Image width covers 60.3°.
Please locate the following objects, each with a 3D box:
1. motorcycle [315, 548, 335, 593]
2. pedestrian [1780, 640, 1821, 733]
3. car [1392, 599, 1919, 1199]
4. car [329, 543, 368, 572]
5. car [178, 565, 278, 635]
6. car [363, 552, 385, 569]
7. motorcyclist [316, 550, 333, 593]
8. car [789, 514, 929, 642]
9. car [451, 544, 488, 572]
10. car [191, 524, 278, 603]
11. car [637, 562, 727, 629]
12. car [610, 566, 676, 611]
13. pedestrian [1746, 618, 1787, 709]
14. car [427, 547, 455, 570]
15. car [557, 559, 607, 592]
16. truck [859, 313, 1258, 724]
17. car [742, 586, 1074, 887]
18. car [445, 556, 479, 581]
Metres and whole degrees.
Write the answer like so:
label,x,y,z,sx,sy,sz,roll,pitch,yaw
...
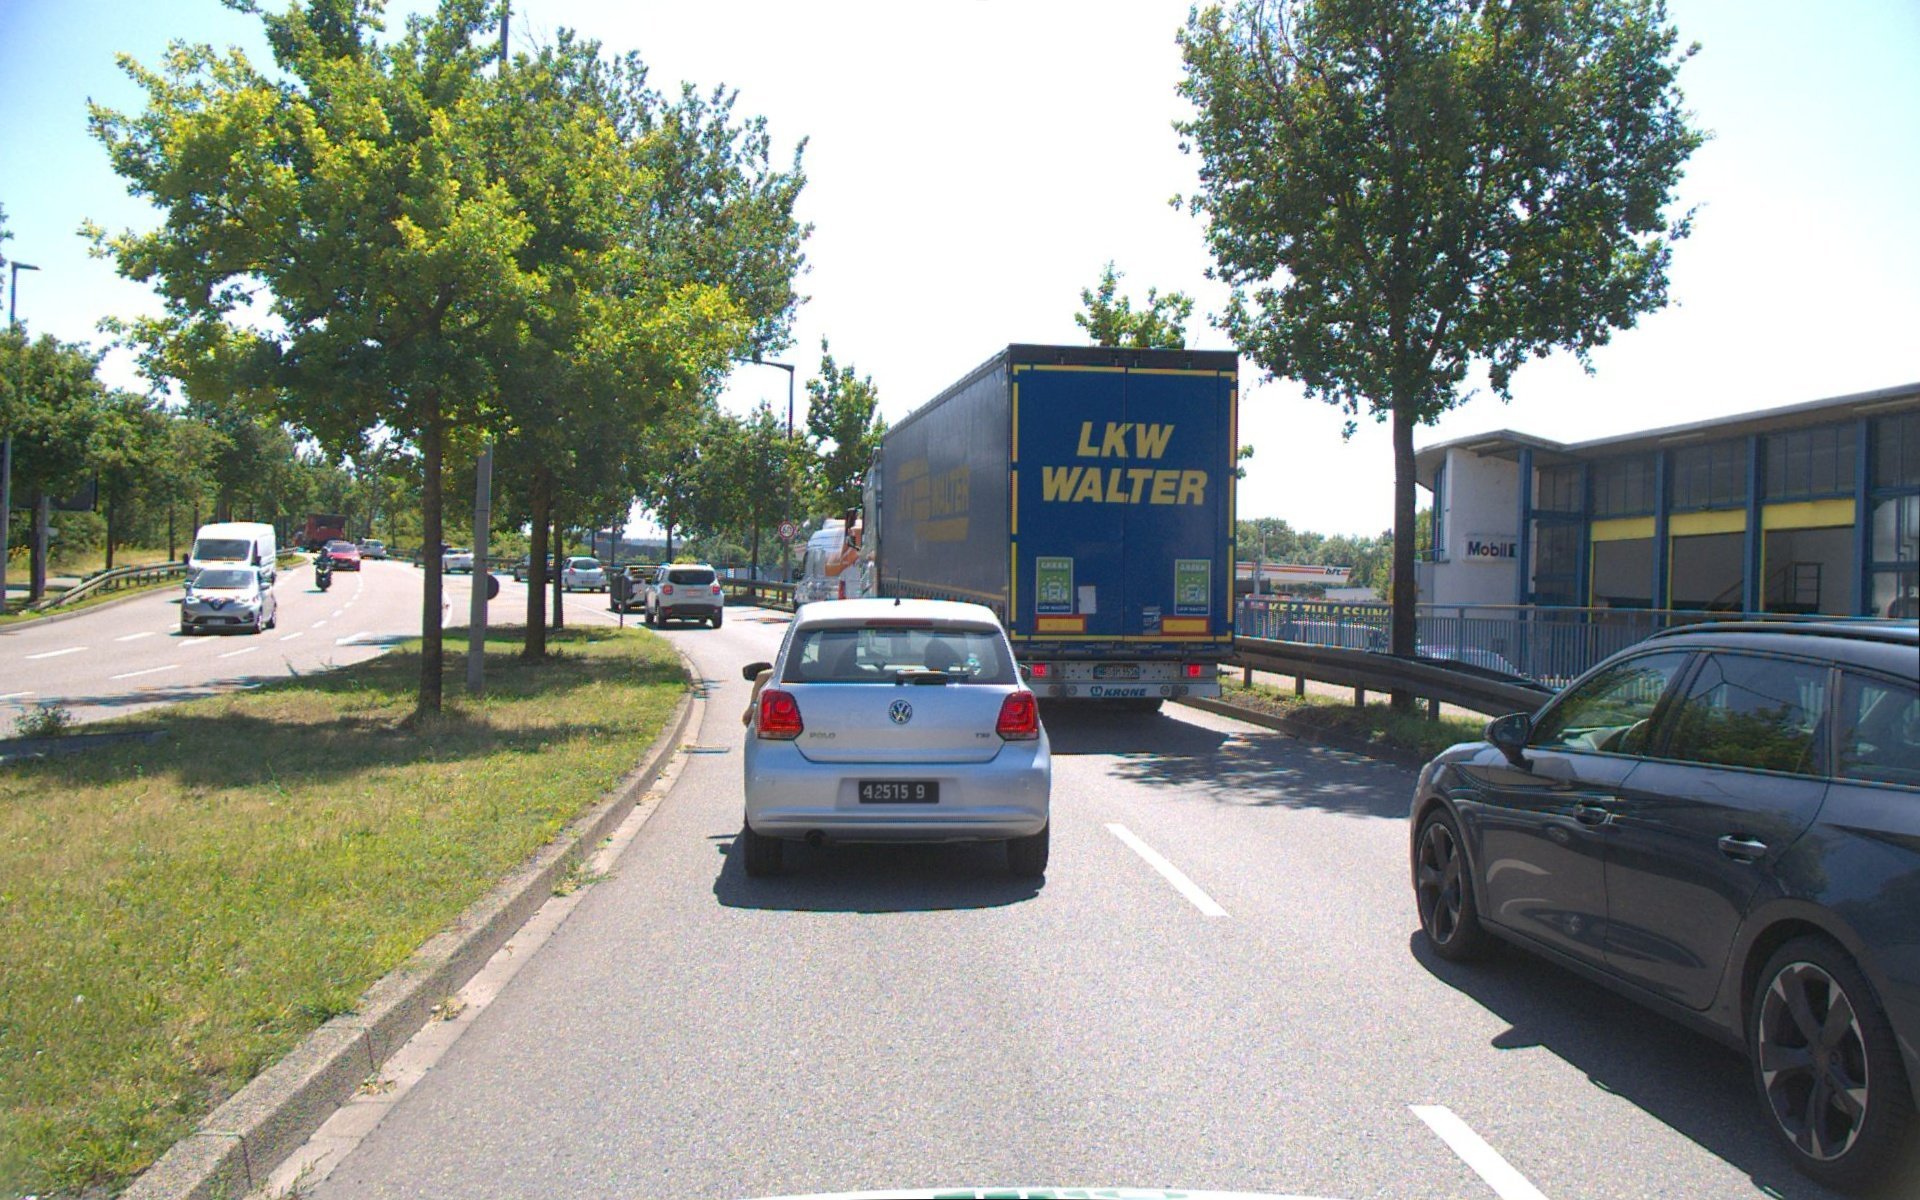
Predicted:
label,x,y,z,sx,sy,sz,roll,pitch,yaw
motorcycle,-24.783,-1.146,64.557,0.588,1.707,2.412,1,0,-18
pedestrian,16.043,1.645,31.576,0.418,1.732,0.588,1,0,-11
car,2.939,0.755,5.423,1.573,1.481,4.230,1,0,-6
car,-33.734,-2.313,91.349,1.802,1.462,4.502,-1,0,-18
car,-17.529,0.005,39.765,1.607,1.594,4.055,0,0,-15
car,-43.346,-2.937,122.373,1.304,1.158,2.973,1,0,-23
motorcyclist,-24.790,-1.110,64.522,0.578,1.655,0.560,1,0,-18
car,-2.675,-0.604,41.863,2.141,2.951,6.330,1,1,-16
car,-27.583,-2.341,92.993,1.642,1.490,3.556,1,0,-23
car,-24.550,-1.270,56.138,2.062,2.544,5.781,0,2,-18
car,-7.786,-0.119,46.103,1.874,1.748,4.202,1,0,-18
car,-10.352,-0.393,53.870,1.473,1.383,3.639,1,1,-21
pedestrian,15.666,1.224,32.126,0.512,1.732,0.487,1,0,-10
car,-32.676,-2.573,104.038,1.398,1.337,3.314,1,0,-23
car,-16.320,-1.065,71.265,1.585,1.383,3.640,1,1,-21
truck,0.571,-0.937,25.614,2.780,4.271,16.443,1,1,-8
car,-0.329,0.681,9.940,1.613,1.464,3.535,1,0,-3
car,-28.165,-1.770,93.480,1.437,1.337,3.613,1,0,-22
